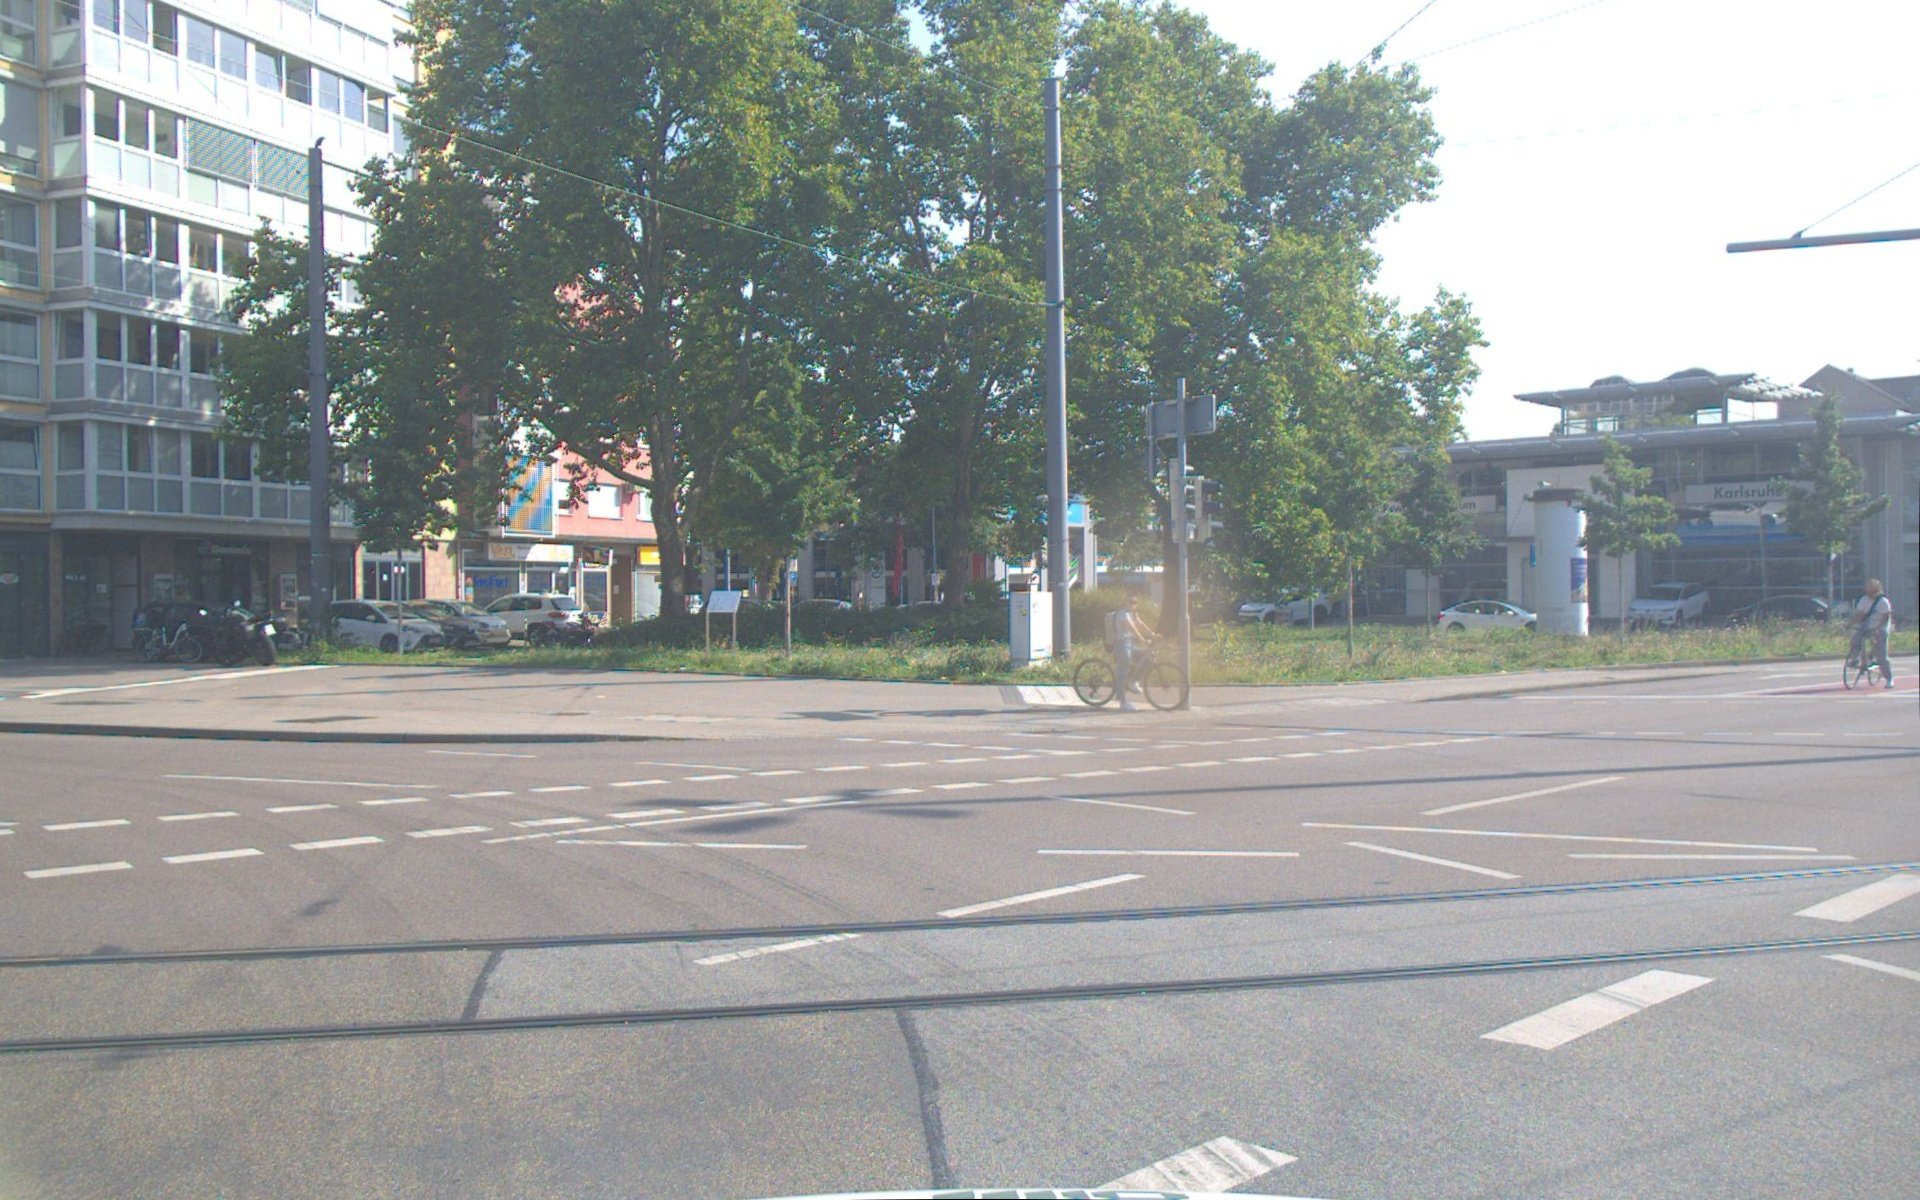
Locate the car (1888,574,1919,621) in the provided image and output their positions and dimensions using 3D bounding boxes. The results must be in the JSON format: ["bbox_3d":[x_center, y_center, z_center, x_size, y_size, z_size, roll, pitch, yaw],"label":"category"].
[{"bbox_3d":[29.495,-0.082,47.831,1.968,1.394,4.363,-1,1,-25],"label":"car"}]

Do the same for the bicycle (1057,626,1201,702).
[{"bbox_3d":[2.331,0.867,23.006,2.038,0.909,0.564,3,2,42],"label":"bicycle"}]

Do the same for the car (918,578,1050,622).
[{"bbox_3d":[0.801,-0.003,54.395,3.905,1.400,2.000,-1,0,21],"label":"car"}]

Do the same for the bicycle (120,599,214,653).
[{"bbox_3d":[-18.687,0.608,38.968,2.245,1.256,0.524,-1,0,18],"label":"bicycle"}]

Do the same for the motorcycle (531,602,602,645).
[{"bbox_3d":[-9.832,0.578,41.298,1.919,1.019,0.702,0,0,38],"label":"motorcycle"}]

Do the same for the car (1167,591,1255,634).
[{"bbox_3d":[12.151,0.574,80.162,1.930,2.049,3.939,0,0,-42],"label":"car"}]

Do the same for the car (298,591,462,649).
[{"bbox_3d":[-15.830,0.537,45.185,3.906,1.533,2.000,-1,0,23],"label":"car"}]

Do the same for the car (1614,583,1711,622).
[{"bbox_3d":[27.359,0.076,64.333,4.290,1.488,1.968,-1,0,-44],"label":"car"}]

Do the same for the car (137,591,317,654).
[{"bbox_3d":[-17.876,0.535,40.331,4.096,1.466,1.662,-1,0,23],"label":"car"}]

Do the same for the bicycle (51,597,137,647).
[{"bbox_3d":[-22.341,0.558,42.717,0.655,1.204,2.023,-1,1,22],"label":"bicycle"}]

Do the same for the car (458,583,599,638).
[{"bbox_3d":[-13.618,0.341,52.270,3.906,1.673,2.000,-1,0,23],"label":"car"}]

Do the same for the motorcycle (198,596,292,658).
[{"bbox_3d":[-14.052,0.522,32.494,2.257,1.167,0.702,0,0,38],"label":"motorcycle"}]

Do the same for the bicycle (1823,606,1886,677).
[{"bbox_3d":[13.692,0.618,25.282,0.519,1.006,2.189,-1,0,37],"label":"bicycle"}]

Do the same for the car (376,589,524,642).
[{"bbox_3d":[-15.413,0.476,49.987,3.906,1.533,2.000,-1,0,23],"label":"car"}]

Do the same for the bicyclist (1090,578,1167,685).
[{"bbox_3d":[2.343,0.428,22.982,0.805,1.452,0.727,0,0,40],"label":"bicyclist"}]

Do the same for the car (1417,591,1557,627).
[{"bbox_3d":[18.639,0.303,58.562,4.314,1.186,1.991,0,1,39],"label":"car"}]

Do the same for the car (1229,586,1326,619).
[{"bbox_3d":[14.591,0.096,76.072,3.996,1.488,1.985,0,0,-25],"label":"car"}]

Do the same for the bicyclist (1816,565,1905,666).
[{"bbox_3d":[13.754,0.229,25.255,1.066,1.501,0.968,0,0,37],"label":"bicyclist"}]
